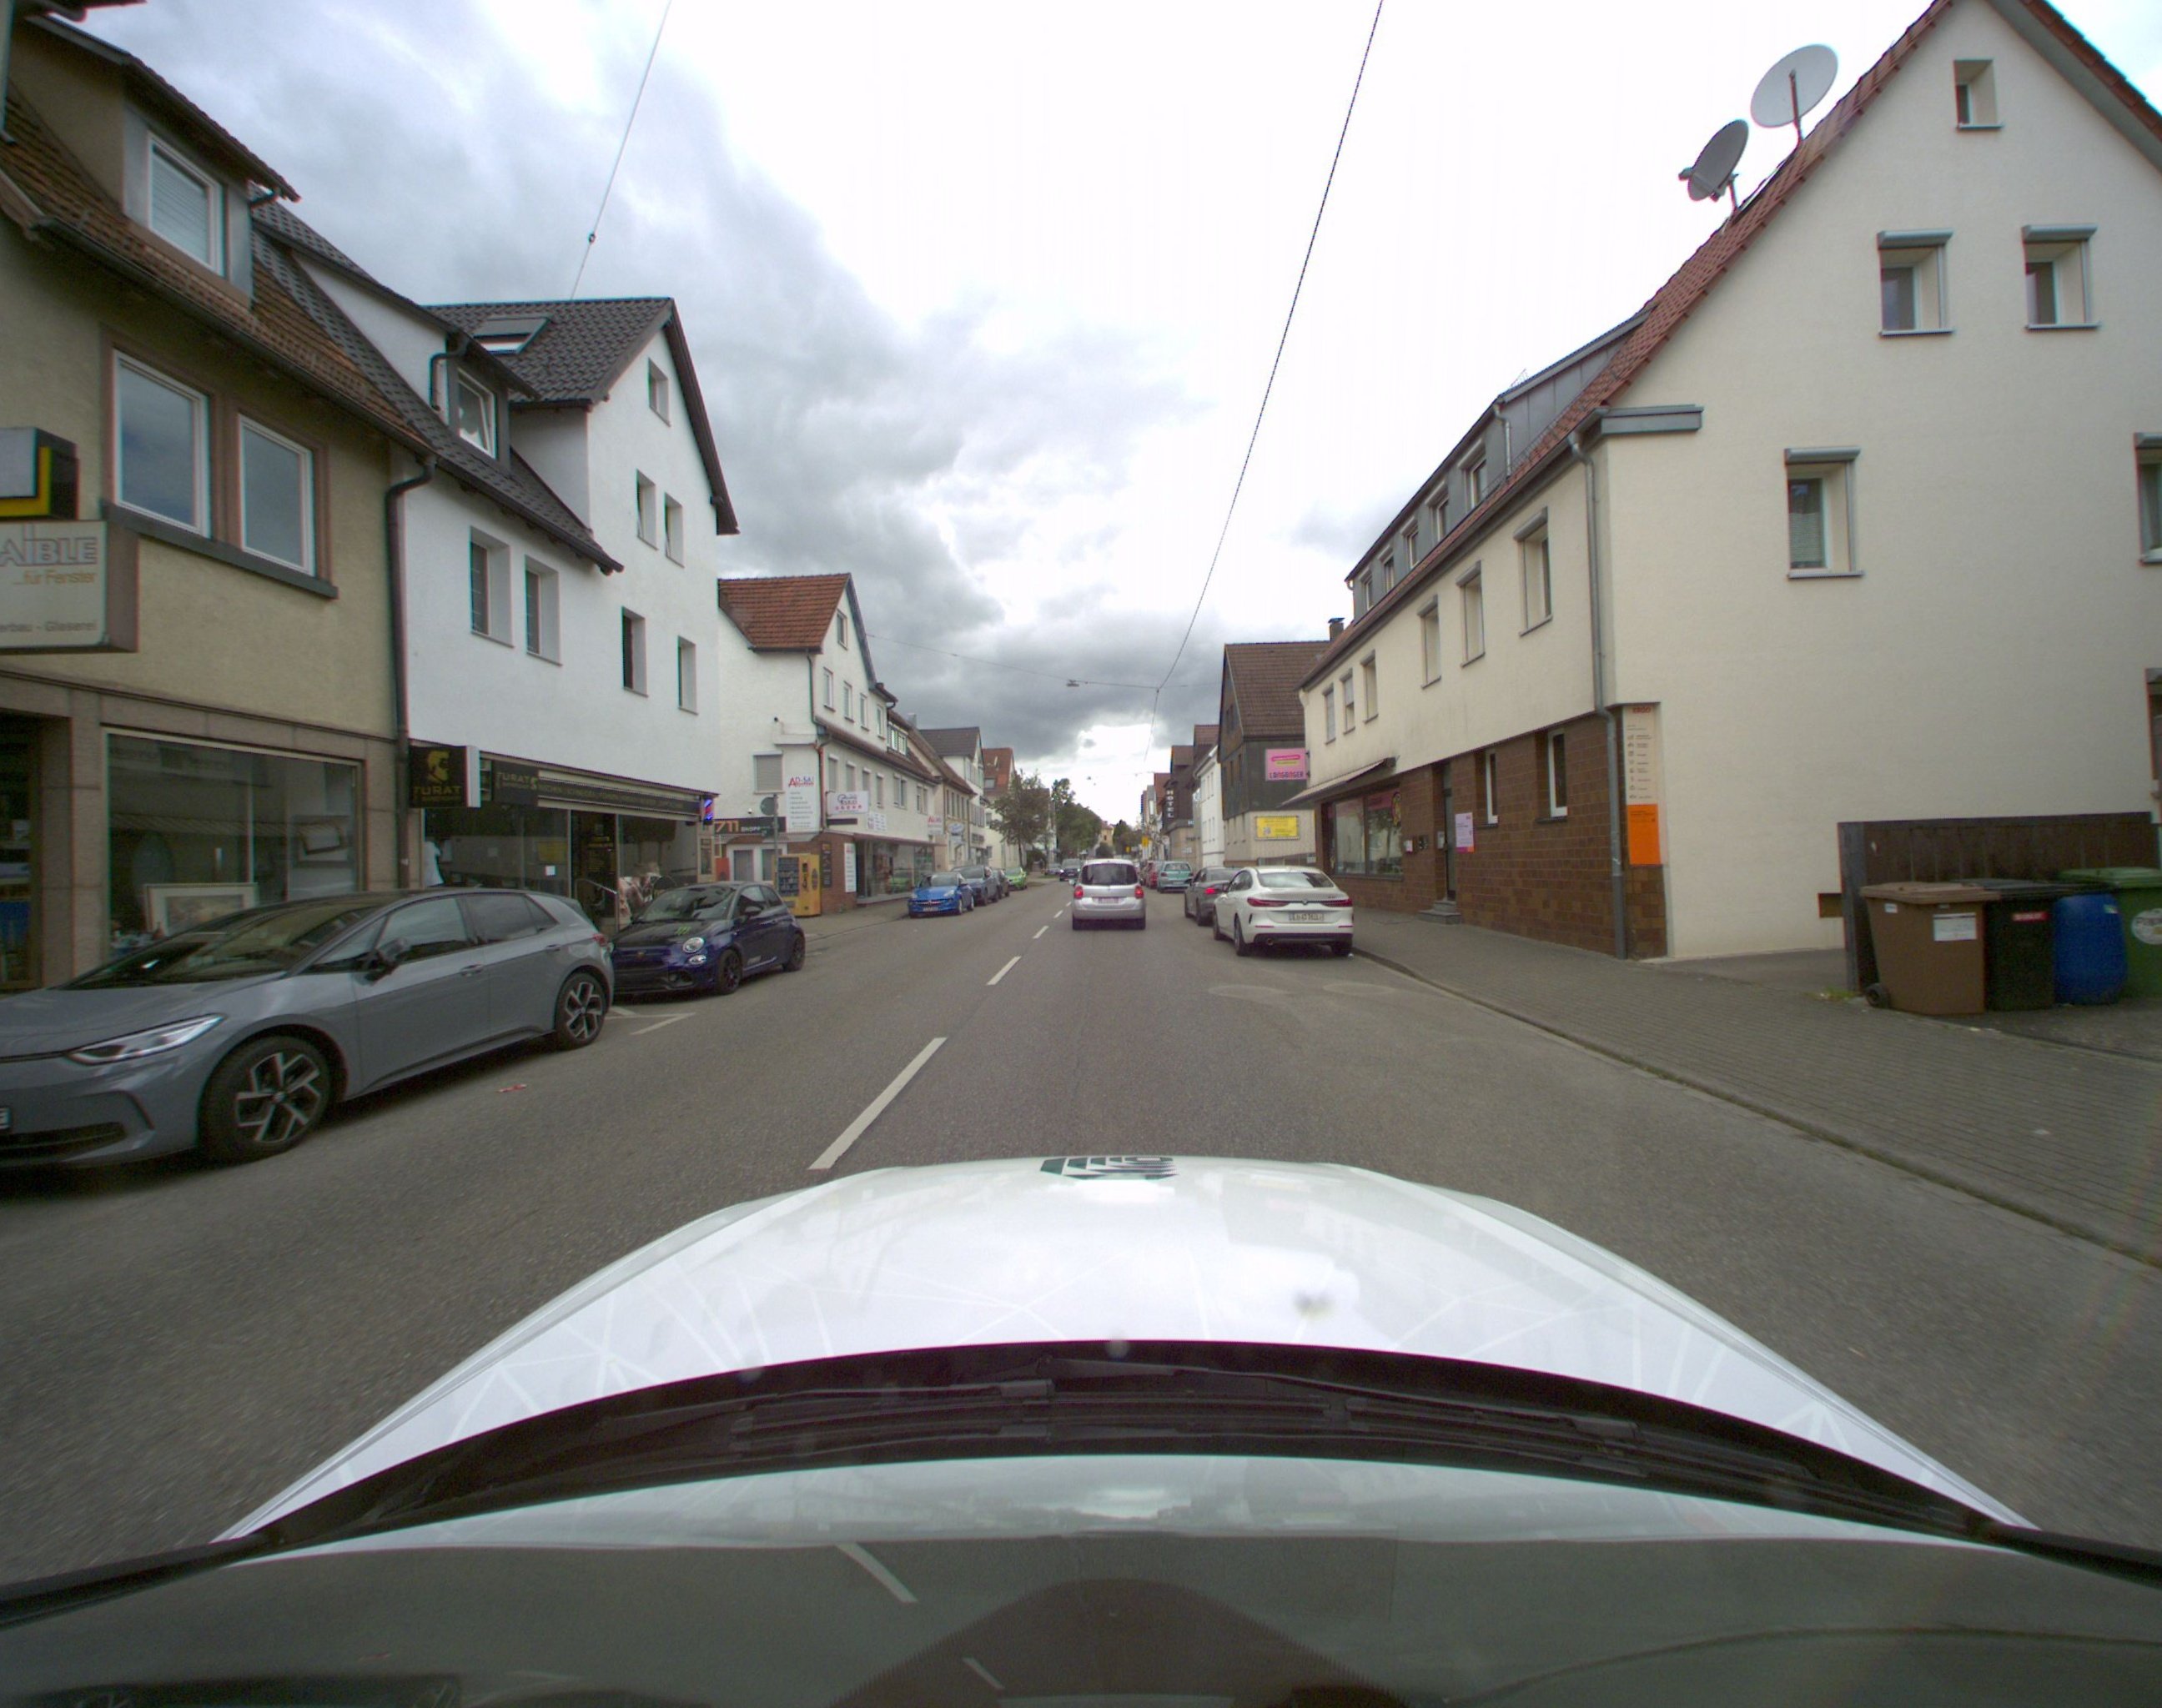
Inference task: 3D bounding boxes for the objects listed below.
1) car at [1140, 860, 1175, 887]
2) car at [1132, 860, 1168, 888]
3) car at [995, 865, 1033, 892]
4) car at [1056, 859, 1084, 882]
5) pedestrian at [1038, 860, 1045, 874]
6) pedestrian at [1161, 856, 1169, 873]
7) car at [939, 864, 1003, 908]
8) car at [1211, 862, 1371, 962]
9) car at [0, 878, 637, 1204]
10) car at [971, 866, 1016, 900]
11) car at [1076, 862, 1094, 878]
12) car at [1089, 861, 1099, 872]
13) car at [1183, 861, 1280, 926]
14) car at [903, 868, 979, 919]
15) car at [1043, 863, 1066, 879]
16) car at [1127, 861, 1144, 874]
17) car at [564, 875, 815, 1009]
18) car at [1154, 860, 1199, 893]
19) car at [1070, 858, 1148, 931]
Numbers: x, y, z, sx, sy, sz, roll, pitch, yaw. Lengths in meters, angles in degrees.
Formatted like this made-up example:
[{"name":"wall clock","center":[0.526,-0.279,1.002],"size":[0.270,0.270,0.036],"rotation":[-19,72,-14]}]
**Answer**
[{"name":"car","center":[4.645,1.173,49.989],"size":[1.868,1.539,4.515],"rotation":[-1,-1,2]},{"name":"car","center":[3.654,1.034,43.730],"size":[1.748,1.446,4.457],"rotation":[0,-1,3]},{"name":"car","center":[-4.003,1.441,49.079],"size":[1.676,1.447,4.022],"rotation":[-3,-1,2]},{"name":"car","center":[-0.853,1.322,66.761],"size":[1.893,1.737,4.368],"rotation":[-3,-1,3]},{"name":"pedestrian","center":[-4.821,1.577,99.289],"size":[0.760,1.791,0.890],"rotation":[-1,-1,1]},{"name":"pedestrian","center":[9.211,1.147,89.202],"size":[0.853,1.928,0.900],"rotation":[-1,-1,2]},{"name":"car","center":[-4.459,1.255,33.562],"size":[1.796,1.599,4.307],"rotation":[-3,-1,3]},{"name":"car","center":[3.401,0.873,14.027],"size":[1.824,1.446,4.334],"rotation":[0,-1,3]},{"name":"car","center":[-5.517,1.052,6.280],"size":[1.703,1.566,4.116],"rotation":[-3,-1,3]},{"name":"car","center":[-4.159,1.351,39.086],"size":[1.575,1.508,3.814],"rotation":[-1,-1,2]},{"name":"car","center":[0.482,1.749,90.750],"size":[1.788,1.578,4.194],"rotation":[-3,-1,2]},{"name":"car","center":[2.464,2.394,154.683],"size":[1.945,2.014,4.001],"rotation":[-1,-1,2]},{"name":"car","center":[3.605,0.911,20.222],"size":[1.824,1.446,4.112],"rotation":[0,-1,3]},{"name":"car","center":[-4.690,1.298,27.749],"size":[1.676,1.499,3.777],"rotation":[-3,-1,3]},{"name":"car","center":[-2.735,1.740,84.409],"size":[1.941,1.467,4.518],"rotation":[-4,-1,2]},{"name":"car","center":[6.116,1.507,91.989],"size":[1.694,1.467,4.240],"rotation":[-1,-1,2]},{"name":"car","center":[-5.353,1.117,11.705],"size":[1.676,1.493,3.593],"rotation":[-3,-1,3]},{"name":"car","center":[4.530,1.047,39.070],"size":[1.824,1.498,3.996],"rotation":[0,-1,3]},{"name":"car","center":[0.690,0.903,19.619],"size":[1.675,1.566,3.996],"rotation":[0,-1,3]}]
